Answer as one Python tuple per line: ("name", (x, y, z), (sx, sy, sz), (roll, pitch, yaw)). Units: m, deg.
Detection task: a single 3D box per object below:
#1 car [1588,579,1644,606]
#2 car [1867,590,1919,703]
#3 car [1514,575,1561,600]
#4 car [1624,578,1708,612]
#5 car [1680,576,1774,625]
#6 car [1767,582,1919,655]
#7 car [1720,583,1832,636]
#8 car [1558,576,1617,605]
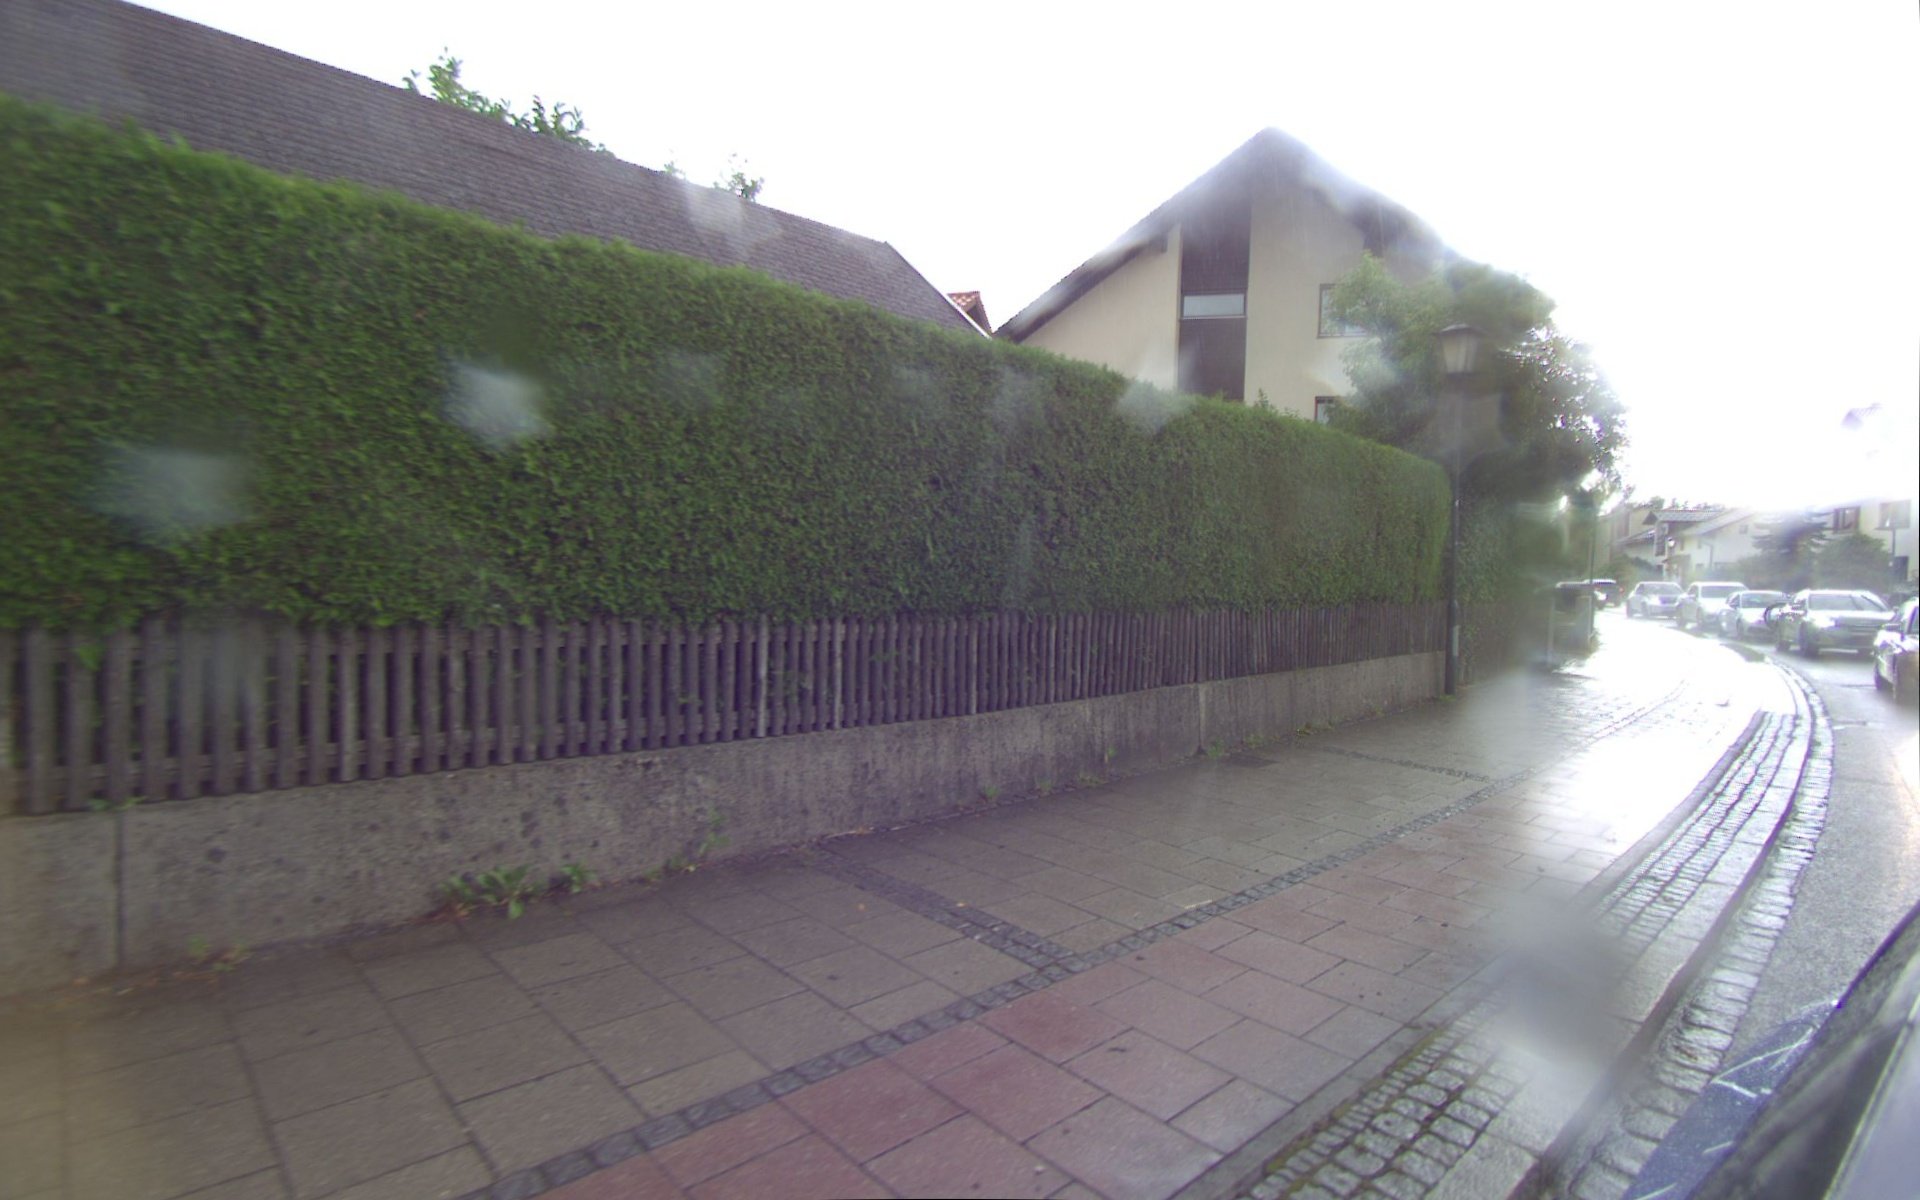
("car", (40.500, -0.442, 62.601), (1.975, 1.615, 4.164), (0, 0, 20))
("car", (14.267, 0.581, 14.198), (1.784, 1.412, 4.227), (0, 1, 35))
("car", (38.593, -0.855, 67.733), (1.770, 1.568, 4.258), (0, 1, 17))
("car", (30.560, -0.240, 43.969), (1.771, 1.390, 4.258), (0, 1, 17))
("car", (26.447, -0.026, 35.027), (1.777, 1.568, 4.243), (0, 1, 26))
("car", (20.590, 0.336, 23.650), (1.779, 1.497, 5.332), (0, 1, 29))
("car", (23.615, 0.232, 29.444), (1.779, 1.412, 4.239), (0, 1, 29))
("car", (34.928, -0.534, 56.430), (1.771, 1.568, 4.258), (0, 1, 17))
